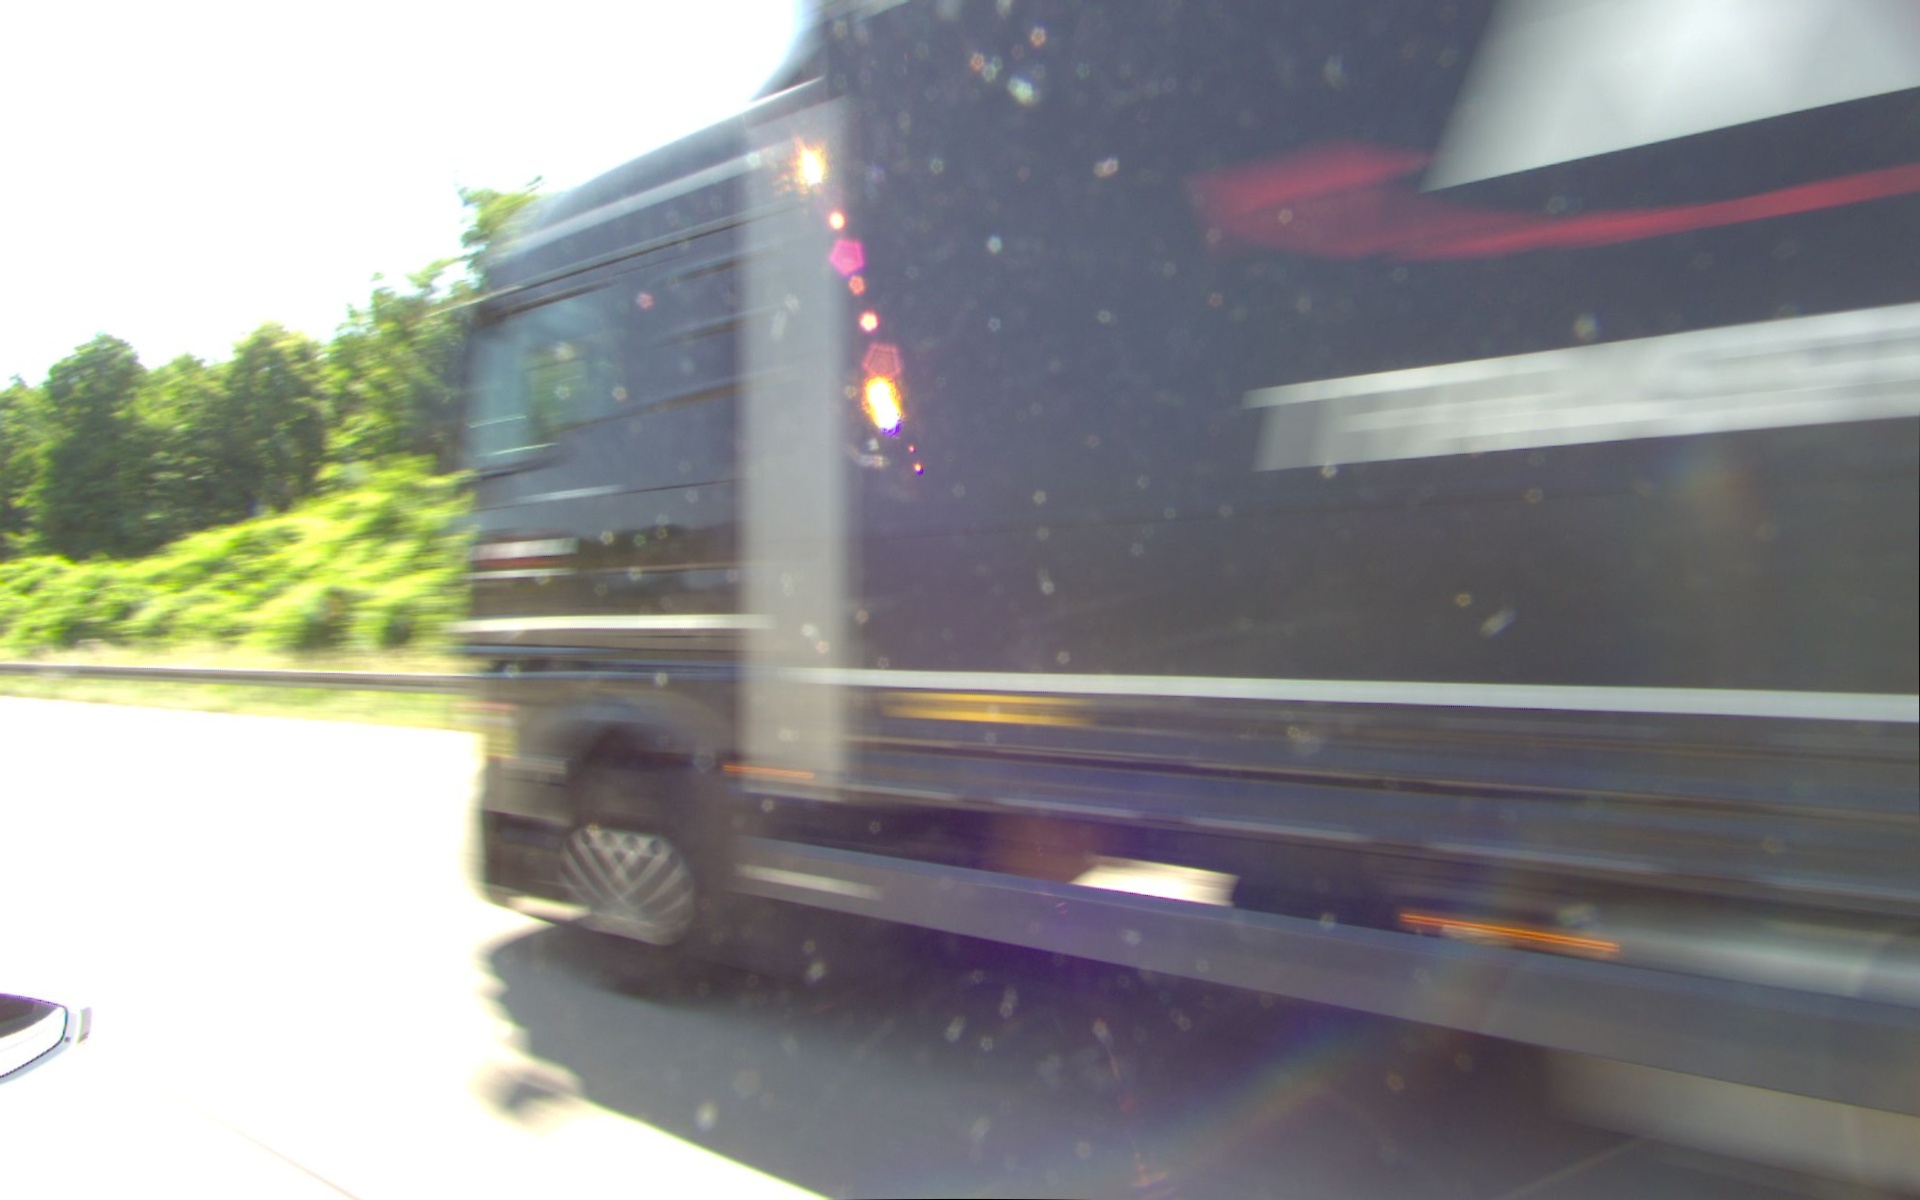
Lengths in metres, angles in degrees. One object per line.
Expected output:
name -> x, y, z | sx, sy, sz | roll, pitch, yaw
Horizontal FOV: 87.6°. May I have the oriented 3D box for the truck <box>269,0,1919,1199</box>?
truck -> 1.936, -0.549, 3.326 | 10.457, 4.068, 3.154 | -1, -2, 33
